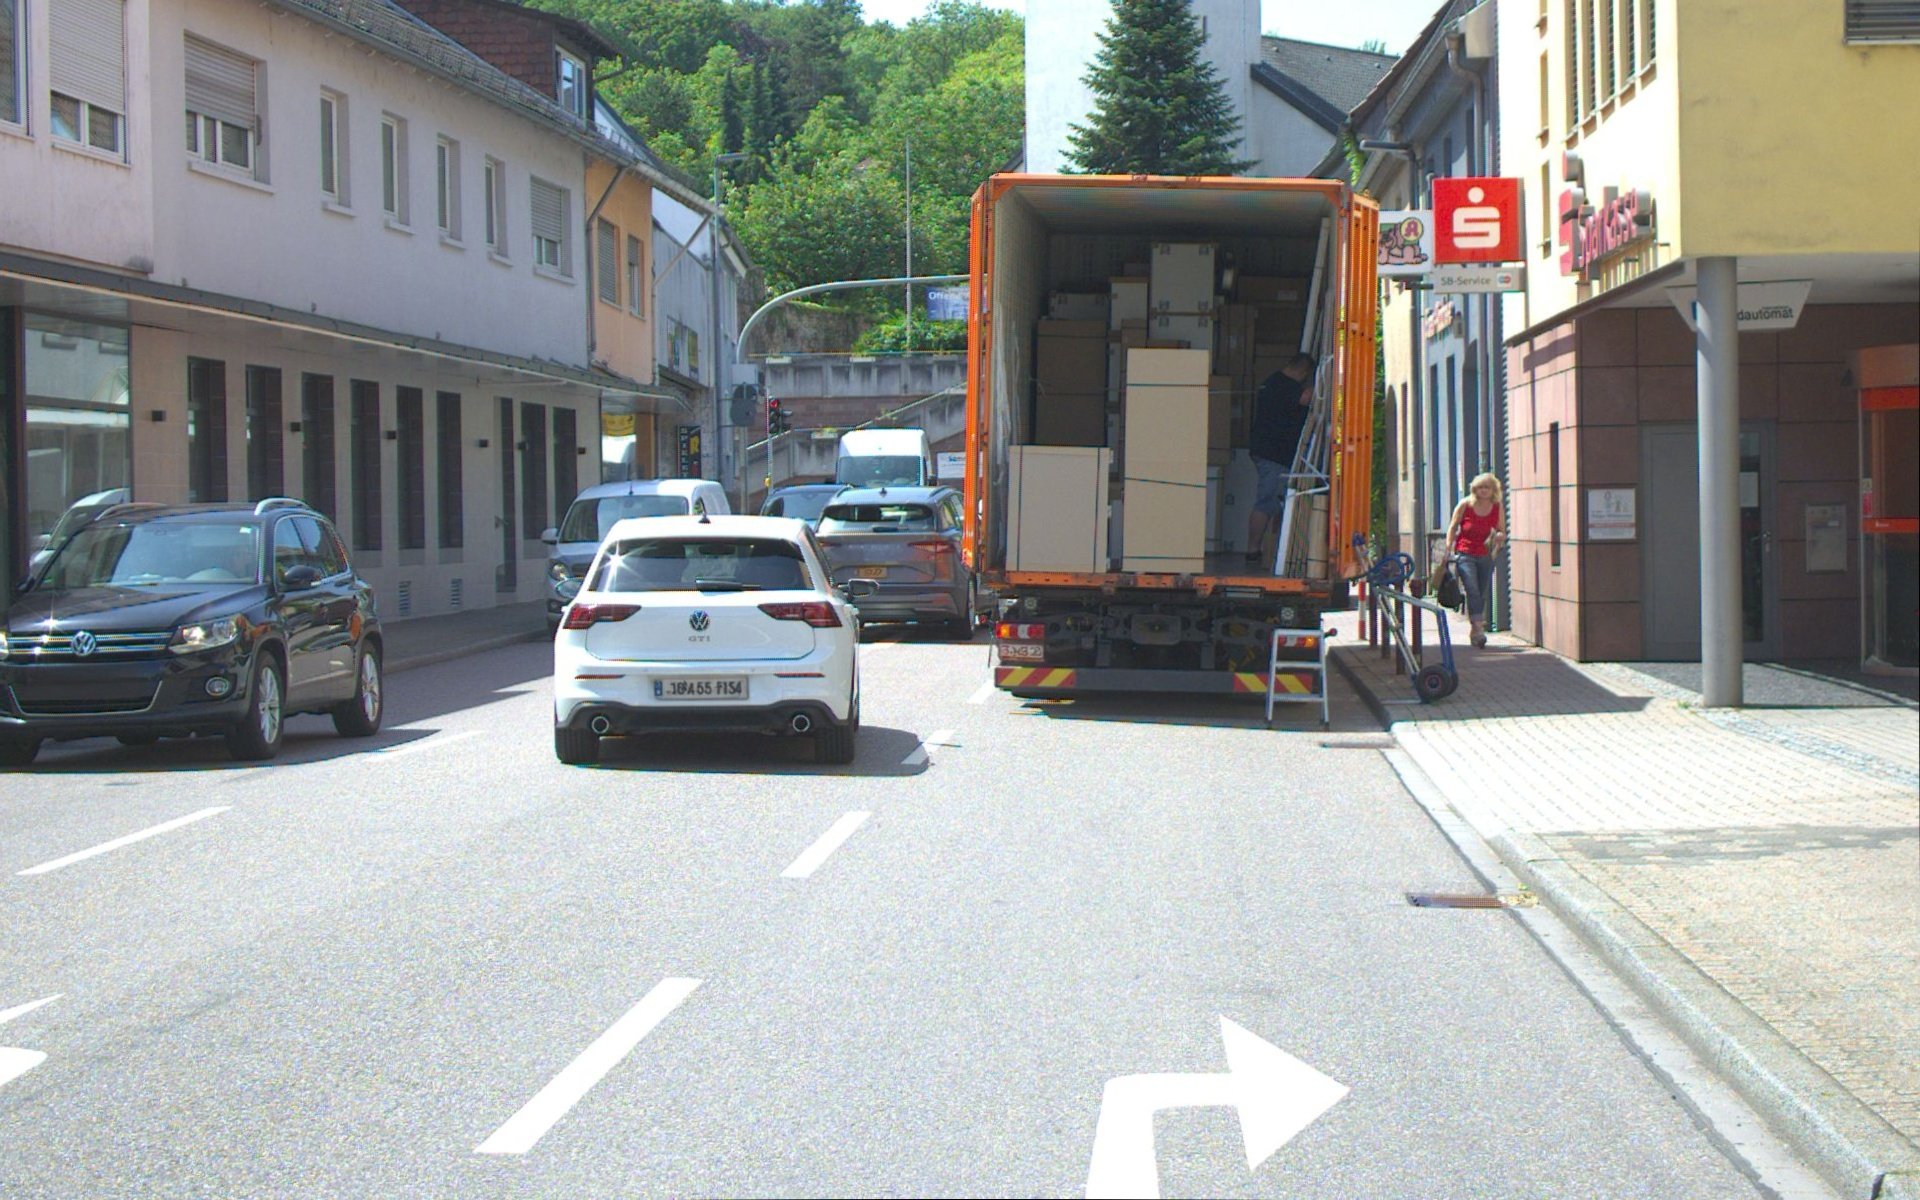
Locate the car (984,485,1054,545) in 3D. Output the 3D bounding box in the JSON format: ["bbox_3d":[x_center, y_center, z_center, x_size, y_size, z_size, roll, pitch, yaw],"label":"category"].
[{"bbox_3d":[1.546,-2.241,91.065,1.761,1.492,4.000,-2,1,1],"label":"car"}]

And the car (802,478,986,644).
[{"bbox_3d":[-0.702,-0.418,36.923,1.815,1.623,4.000,-2,1,-1],"label":"car"}]

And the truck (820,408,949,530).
[{"bbox_3d":[-1.587,-2.798,74.855,2.118,2.466,5.735,-2,1,5],"label":"truck"}]

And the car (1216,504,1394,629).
[{"bbox_3d":[4.474,-0.446,45.068,1.815,1.514,4.000,-2,1,-1],"label":"car"}]

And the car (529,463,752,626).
[{"bbox_3d":[-3.722,-0.699,40.883,1.802,1.773,4.704,-2,2,5],"label":"car"}]

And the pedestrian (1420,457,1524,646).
[{"bbox_3d":[4.837,-0.457,32.499,0.769,1.736,0.871,-2,1,-2],"label":"pedestrian"}]

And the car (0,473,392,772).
[{"bbox_3d":[-4.953,0.062,22.297,1.691,1.693,4.112,-2,2,2],"label":"car"}]

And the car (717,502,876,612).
[{"bbox_3d":[-2.607,-0.697,55.684,1.994,1.645,3.999,-2,1,5],"label":"car"}]

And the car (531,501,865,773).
[{"bbox_3d":[-1.519,0.184,21.206,1.815,1.514,4.000,0,1,-1],"label":"car"}]

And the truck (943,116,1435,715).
[{"bbox_3d":[1.738,-1.376,29.257,3.367,4.155,9.519,-2,1,1],"label":"truck"}]
